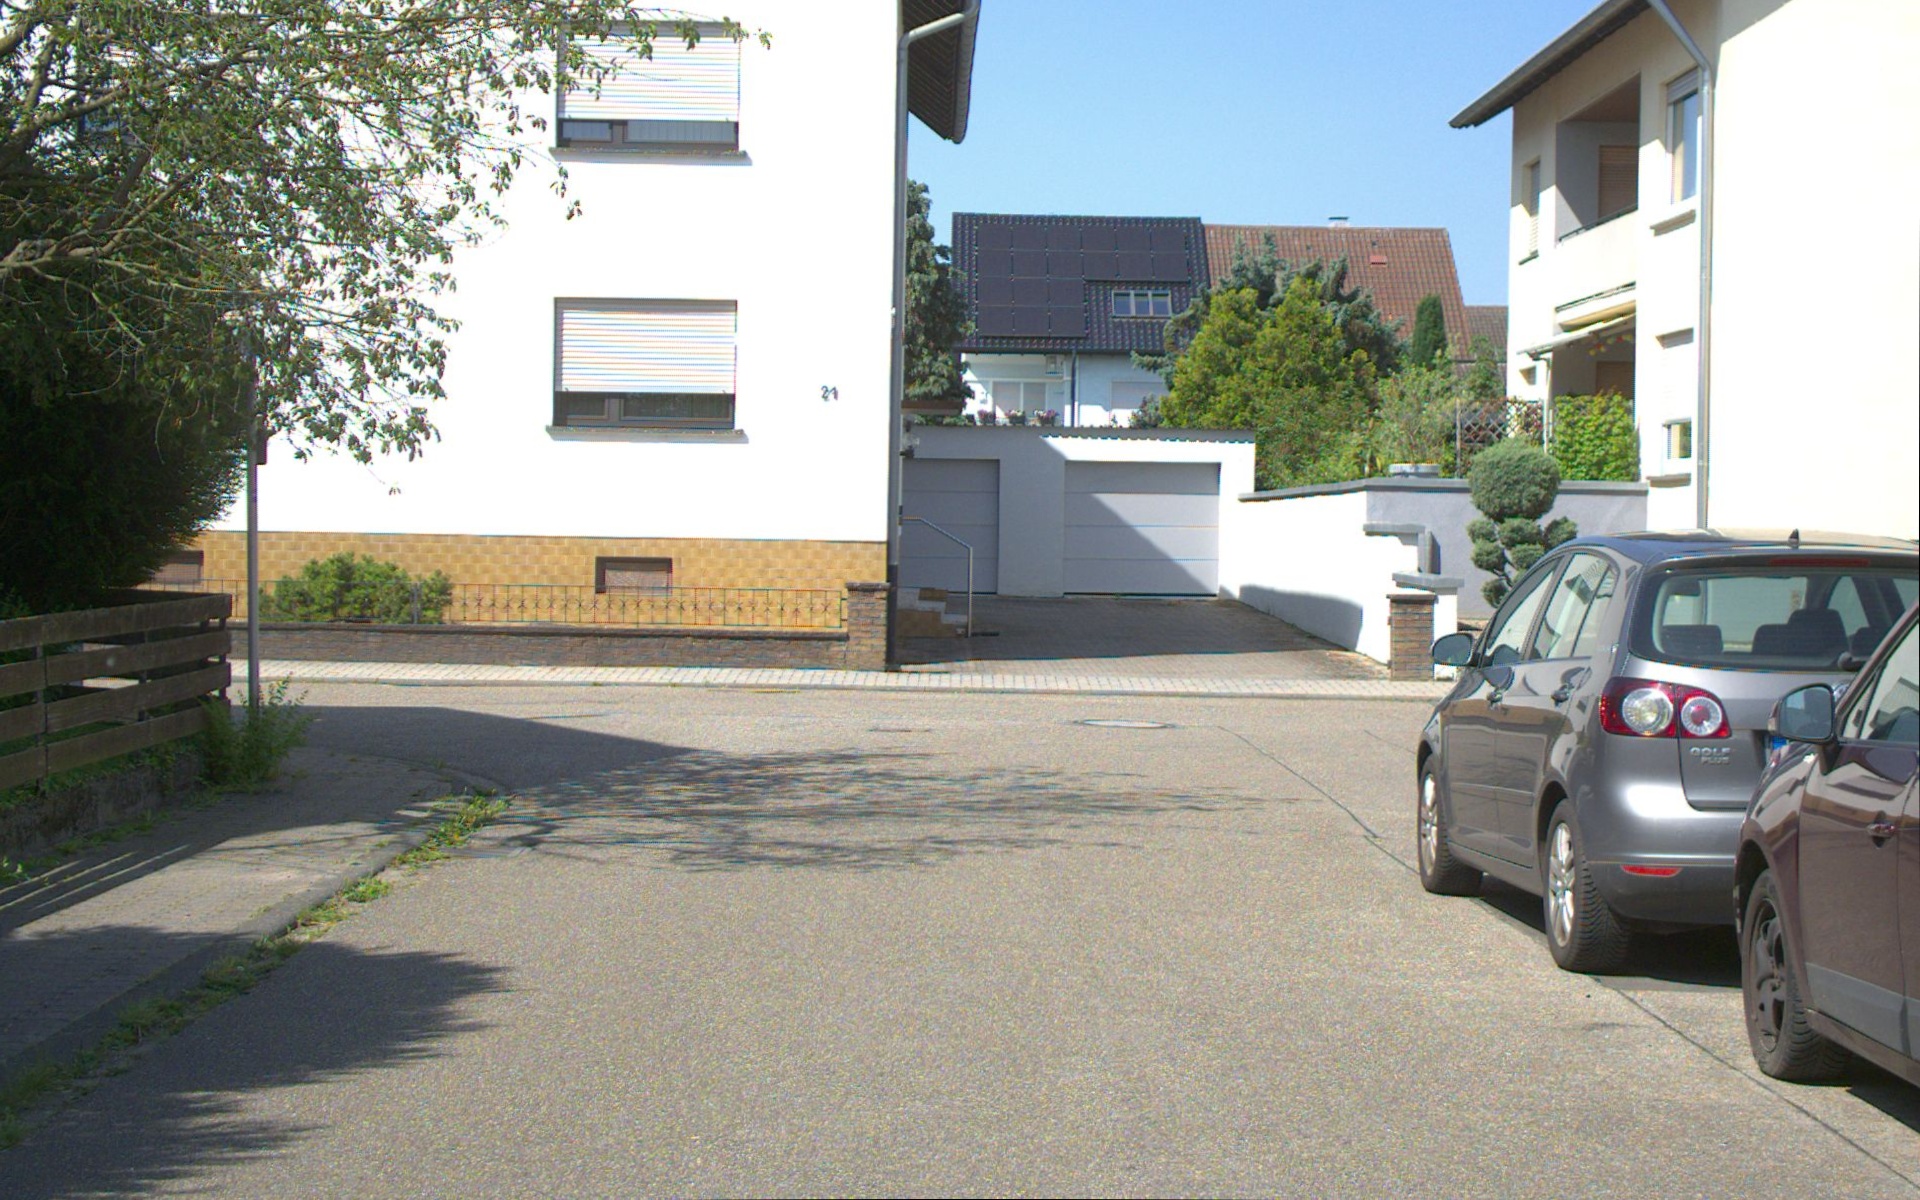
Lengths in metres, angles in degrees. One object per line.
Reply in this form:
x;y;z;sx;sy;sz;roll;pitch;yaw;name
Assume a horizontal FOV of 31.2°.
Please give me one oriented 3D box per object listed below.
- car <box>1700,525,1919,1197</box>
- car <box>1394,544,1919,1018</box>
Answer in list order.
3.097;0.620;8.460;1.645;1.576;4.147;1;1;0;car
2.855;0.576;13.507;1.645;1.540;4.048;0;1;-2;car
